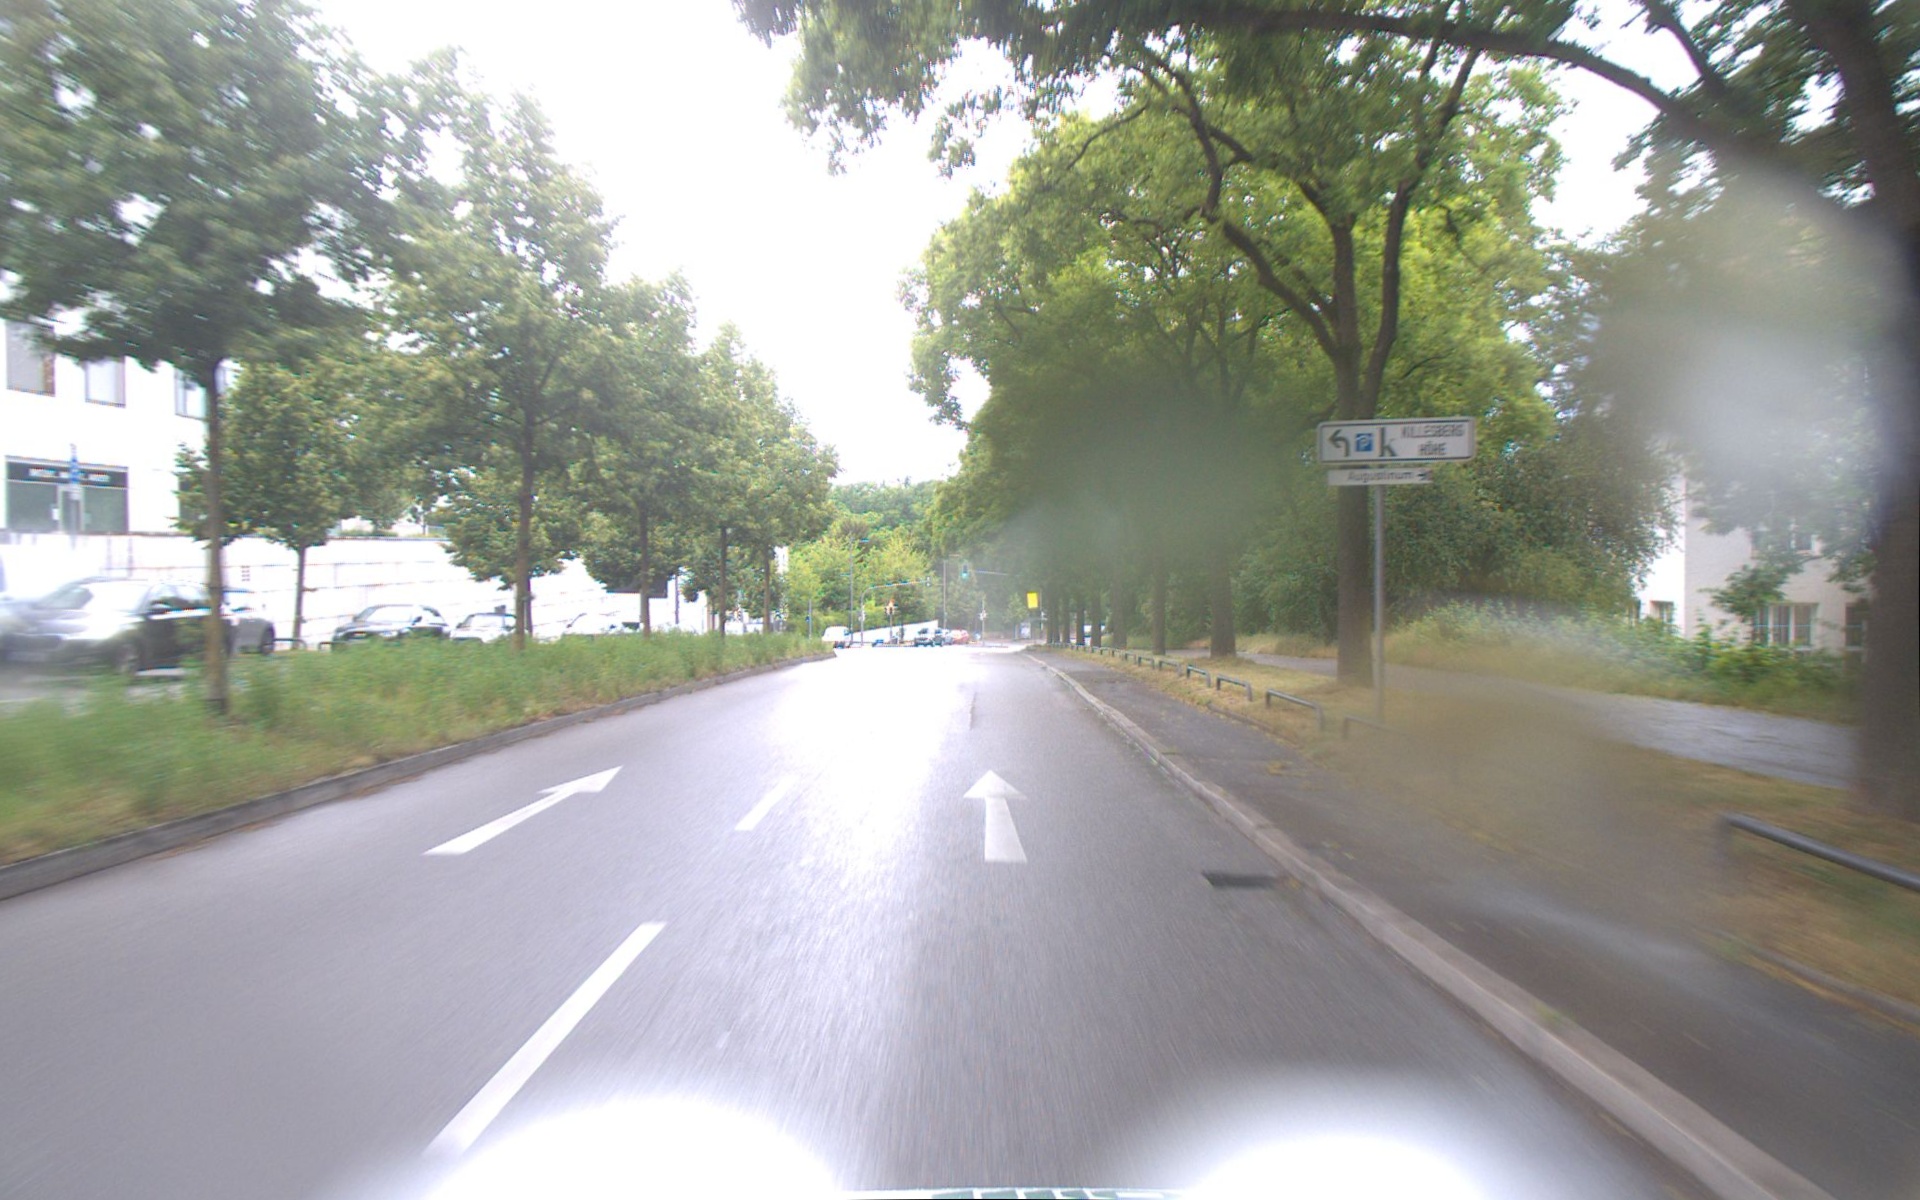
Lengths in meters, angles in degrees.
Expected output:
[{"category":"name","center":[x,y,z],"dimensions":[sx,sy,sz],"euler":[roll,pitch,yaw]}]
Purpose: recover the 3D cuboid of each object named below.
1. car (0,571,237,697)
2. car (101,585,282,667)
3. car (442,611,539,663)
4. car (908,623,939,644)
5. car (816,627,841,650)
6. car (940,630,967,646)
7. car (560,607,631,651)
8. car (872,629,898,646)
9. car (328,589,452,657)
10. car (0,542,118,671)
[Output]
[{"category":"car","center":[-11.870,0.402,23.209],"dimensions":[1.660,1.609,4.018],"euler":[0,1,0]},{"category":"car","center":[-14.419,0.485,31.257],"dimensions":[1.660,1.409,3.698],"euler":[1,-1,0]},{"category":"car","center":[-14.239,1.090,50.338],"dimensions":[1.659,1.469,3.861],"euler":[0,0,3]},{"category":"car","center":[-3.581,3.307,162.257],"dimensions":[1.880,1.890,4.510],"euler":[-4,-2,14]},{"category":"car","center":[-10.475,3.051,131.992],"dimensions":[1.675,1.777,4.337],"euler":[0,-1,0]},{"category":"car","center":[-0.674,4.199,181.816],"dimensions":[1.835,1.602,4.225],"euler":[2,-1,16]},{"category":"car","center":[-14.005,1.144,63.722],"dimensions":[1.668,1.649,4.362],"euler":[0,-2,1]},{"category":"car","center":[-6.687,3.345,147.820],"dimensions":[1.733,1.405,4.192],"euler":[-2,-2,6]},{"category":"car","center":[-14.283,0.547,41.662],"dimensions":[1.660,1.609,4.018],"euler":[0,0,1]},{"category":"car","center":[-14.759,0.092,24.324],"dimensions":[2.079,1.847,5.259],"euler":[0,0,-1]}]
